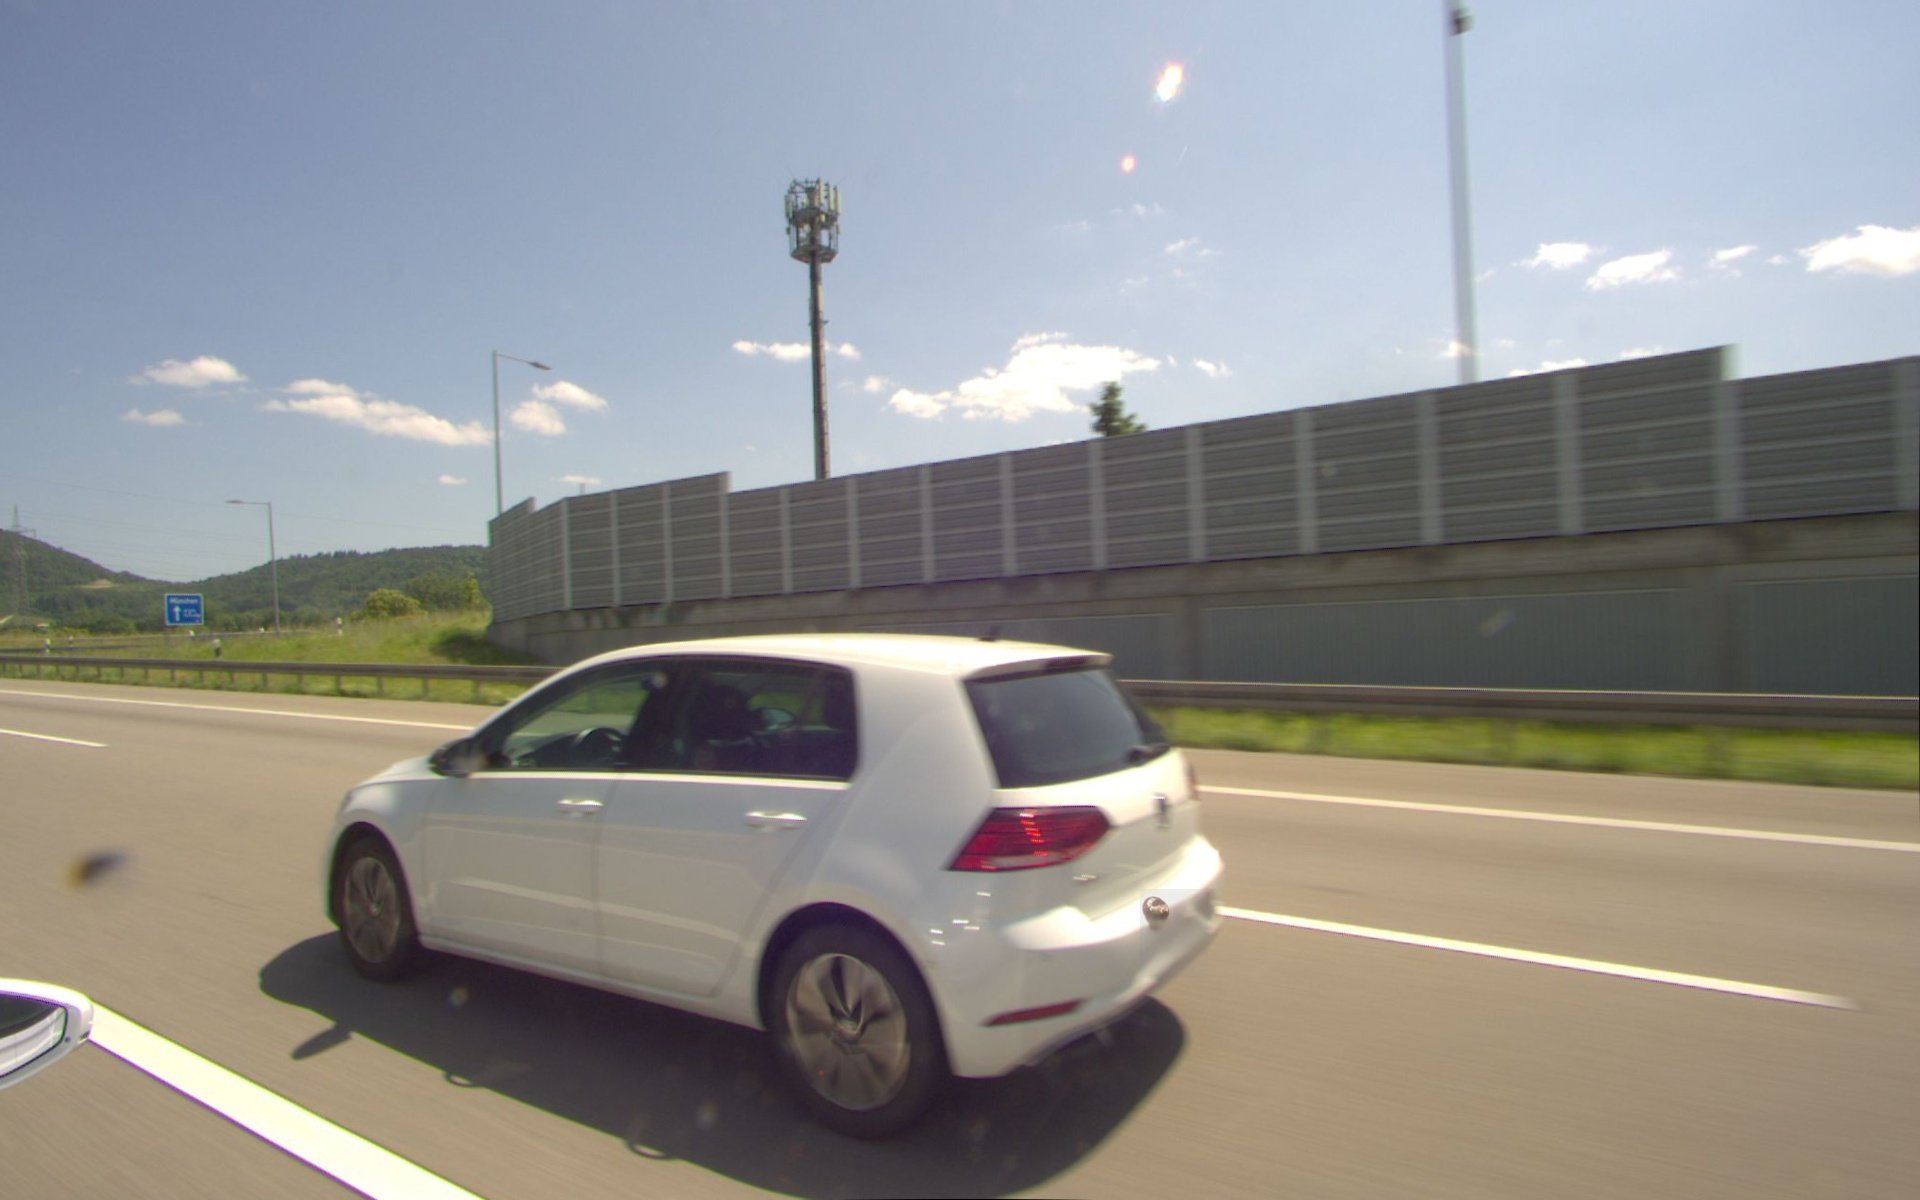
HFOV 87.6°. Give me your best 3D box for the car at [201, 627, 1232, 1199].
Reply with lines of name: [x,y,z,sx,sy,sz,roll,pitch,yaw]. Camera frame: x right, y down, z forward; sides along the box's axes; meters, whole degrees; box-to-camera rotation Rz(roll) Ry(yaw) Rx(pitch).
car: [-1.334,0.886,4.489,4.624,1.451,1.773,-2,-3,32]
